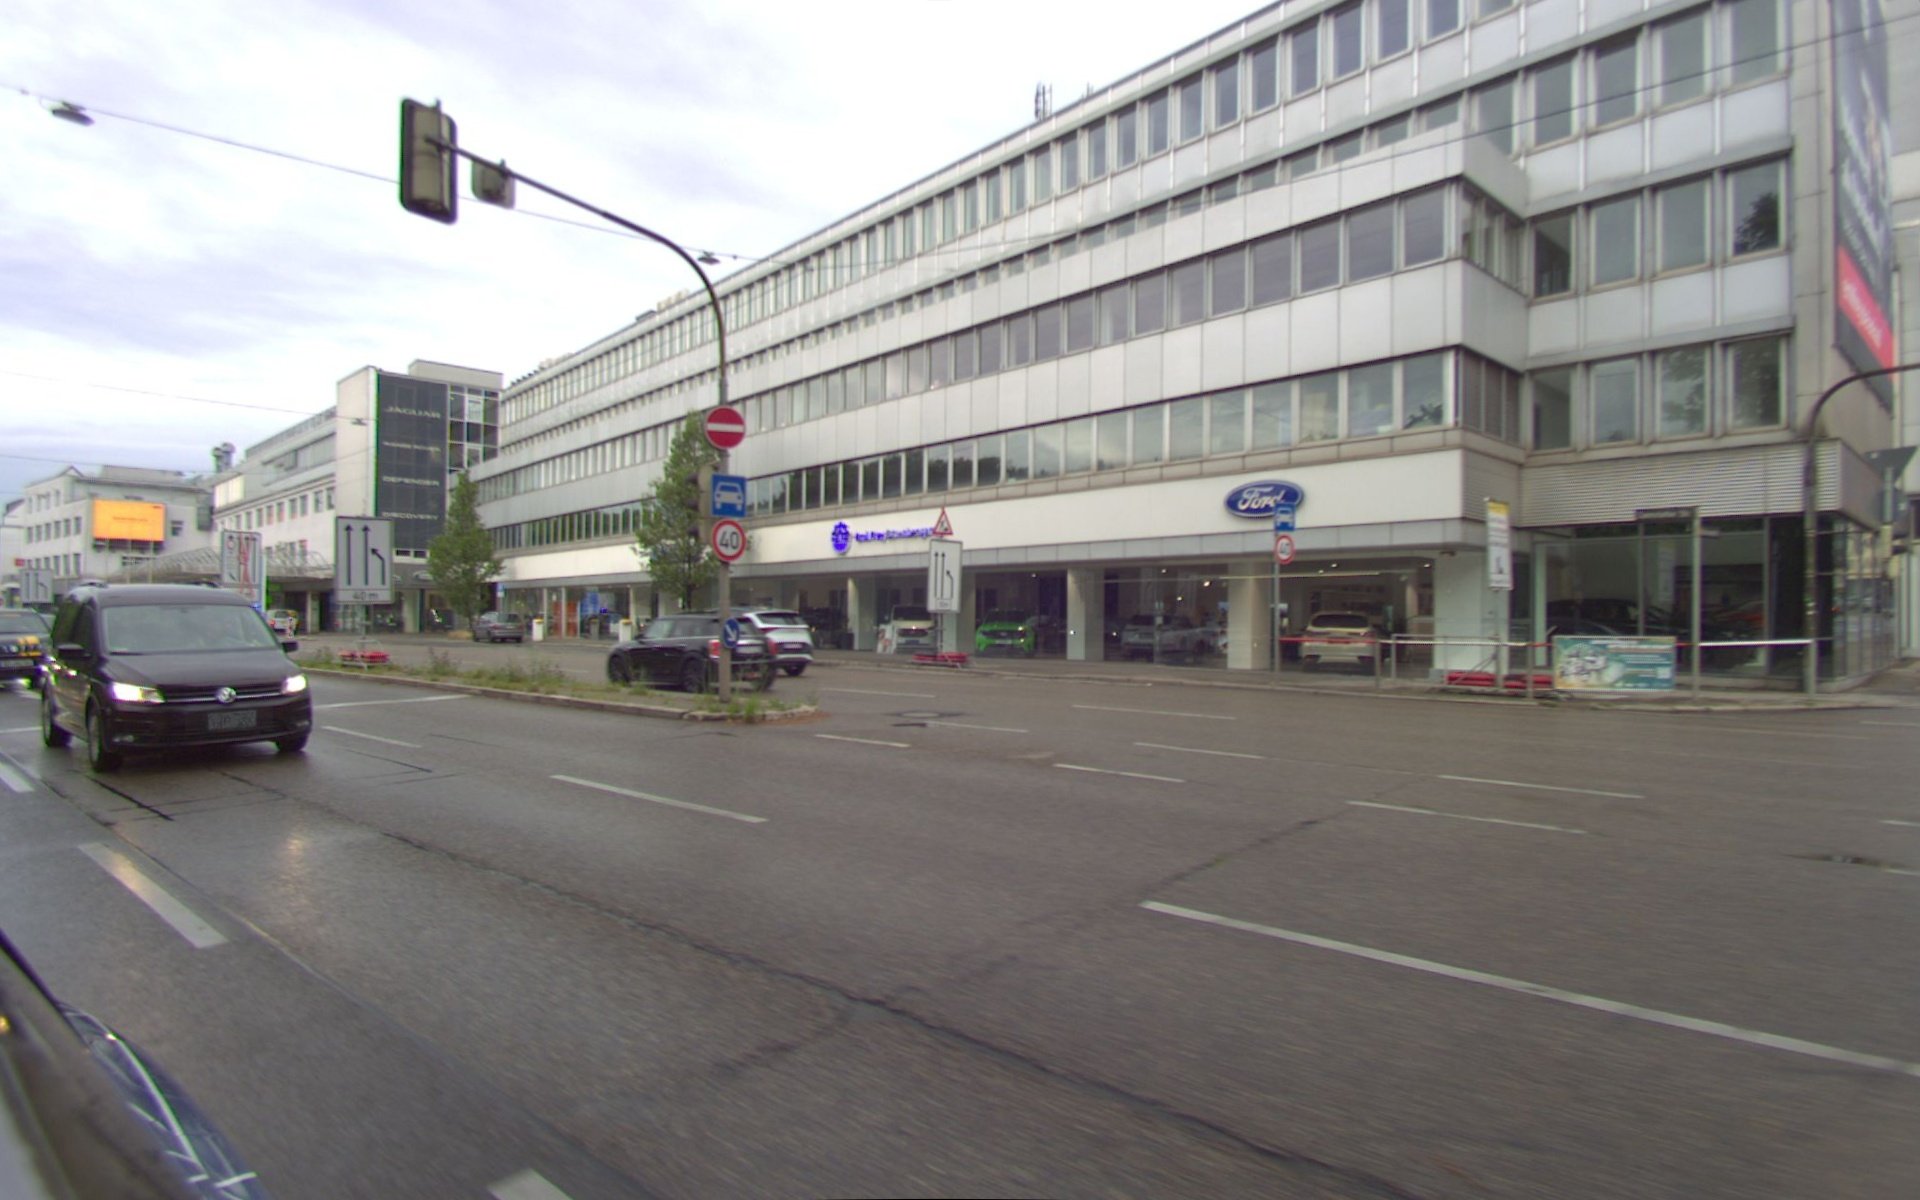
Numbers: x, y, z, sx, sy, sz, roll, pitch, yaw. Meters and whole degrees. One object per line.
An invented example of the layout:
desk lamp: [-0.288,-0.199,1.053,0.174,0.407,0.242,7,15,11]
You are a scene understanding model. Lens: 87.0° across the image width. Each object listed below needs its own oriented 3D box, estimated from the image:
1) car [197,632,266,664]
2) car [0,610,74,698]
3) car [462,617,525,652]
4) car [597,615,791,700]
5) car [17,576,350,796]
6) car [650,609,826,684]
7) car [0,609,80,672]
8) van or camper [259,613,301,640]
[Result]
car: [-34.859,2.246,48.396,4.211,1.430,1.668,-1,-2,40]
car: [-19.527,1.058,20.455,4.330,1.611,1.791,-1,1,41]
car: [-26.685,1.933,57.848,4.167,1.829,1.896,-1,1,45]
car: [-5.067,1.014,19.067,3.861,1.447,1.665,-1,-1,41]
car: [-8.318,0.732,10.692,4.427,1.828,1.881,-1,1,41]
car: [-5.414,1.053,24.397,4.453,1.622,1.870,-1,-1,41]
car: [-26.850,1.130,28.894,4.327,1.611,1.793,-1,1,38]
van or camper: [-52.285,2.025,77.790,1.902,1.944,4.258,-3,1,-44]
